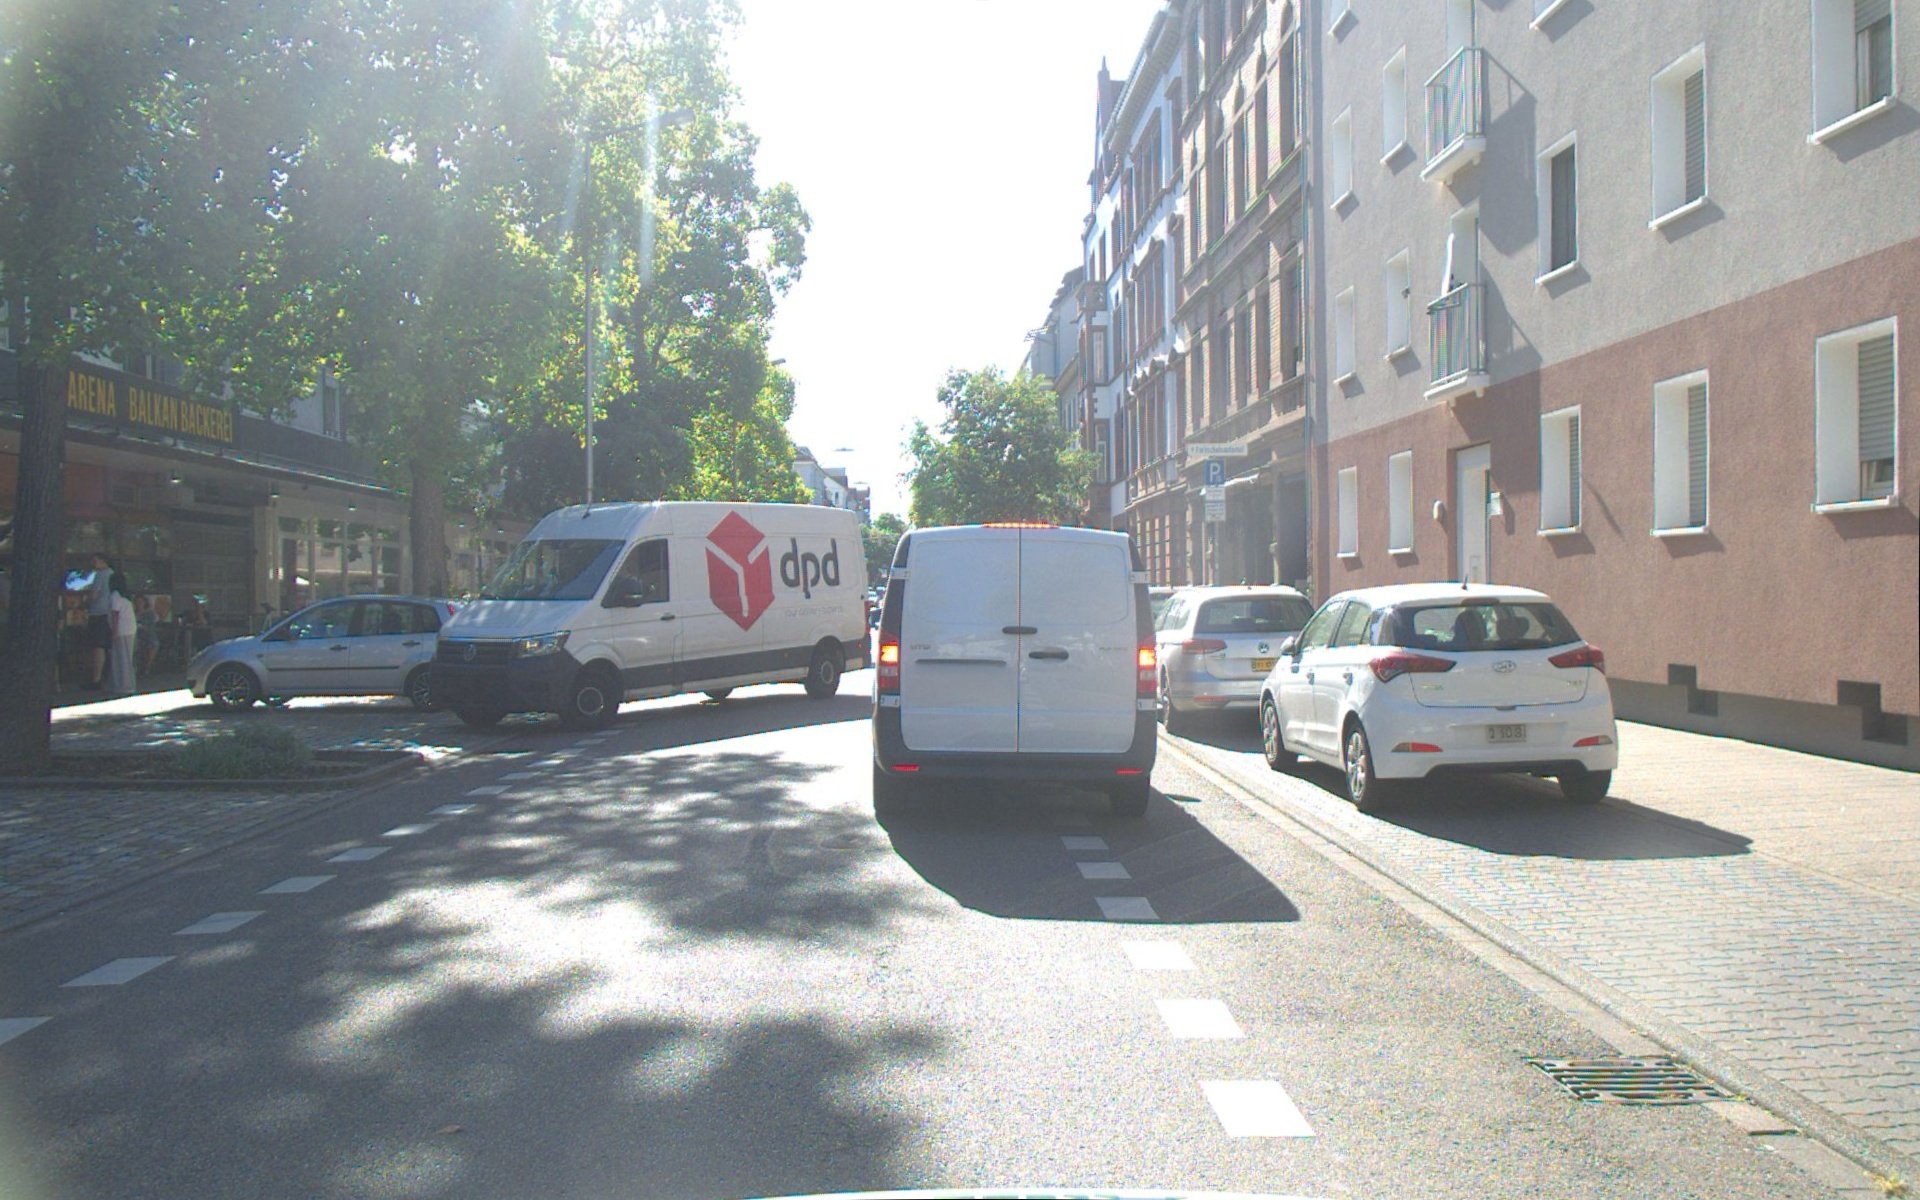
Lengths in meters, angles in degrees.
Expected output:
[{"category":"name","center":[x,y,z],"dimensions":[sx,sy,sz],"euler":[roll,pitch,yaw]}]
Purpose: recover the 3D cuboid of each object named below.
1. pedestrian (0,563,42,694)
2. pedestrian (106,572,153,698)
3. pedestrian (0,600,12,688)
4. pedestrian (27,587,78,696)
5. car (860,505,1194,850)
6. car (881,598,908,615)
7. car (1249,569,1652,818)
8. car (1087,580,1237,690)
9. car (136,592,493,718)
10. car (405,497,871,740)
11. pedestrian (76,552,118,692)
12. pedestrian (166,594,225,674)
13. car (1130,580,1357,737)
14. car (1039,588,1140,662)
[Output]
[{"category":"pedestrian","center":[-13.310,0.400,23.327],"dimensions":[0.475,1.813,0.427],"euler":[-1,0,-5]},{"category":"pedestrian","center":[-11.638,0.486,23.190],"dimensions":[0.382,1.735,0.502],"euler":[1,0,-1]},{"category":"pedestrian","center":[-13.950,0.634,24.022],"dimensions":[0.208,1.266,0.215],"euler":[1,0,-1]},{"category":"pedestrian","center":[-12.581,0.568,22.927],"dimensions":[0.459,1.499,0.420],"euler":[-1,0,-5]},{"category":"car","center":[0.329,0.424,11.840],"dimensions":[1.882,1.947,4.887],"euler":[0,0,-1]},{"category":"car","center":[-3.982,0.377,99.937],"dimensions":[1.577,0.984,3.998],"euler":[-1,0,-3]},{"category":"car","center":[3.473,0.585,12.460],"dimensions":[1.697,1.512,3.792],"euler":[-2,0,-3]},{"category":"car","center":[2.954,0.482,24.875],"dimensions":[1.674,1.506,3.709],"euler":[-1,0,-2]},{"category":"car","center":[-8.322,0.679,21.612],"dimensions":[3.907,1.482,1.859],"euler":[-1,0,-3]},{"category":"car","center":[-3.645,0.154,20.504],"dimensions":[1.955,2.517,6.595],"euler":[-1,0,28]},{"category":"pedestrian","center":[-12.293,0.312,23.572],"dimensions":[0.382,1.968,0.361],"euler":[1,0,-1]},{"category":"pedestrian","center":[-13.195,0.586,28.568],"dimensions":[0.708,1.354,0.702],"euler":[1,0,-5]},{"category":"car","center":[3.015,0.562,18.491],"dimensions":[1.749,1.485,4.516],"euler":[-2,0,0]},{"category":"car","center":[2.768,0.503,35.996],"dimensions":[1.703,1.477,3.998],"euler":[-1,0,-3]}]
